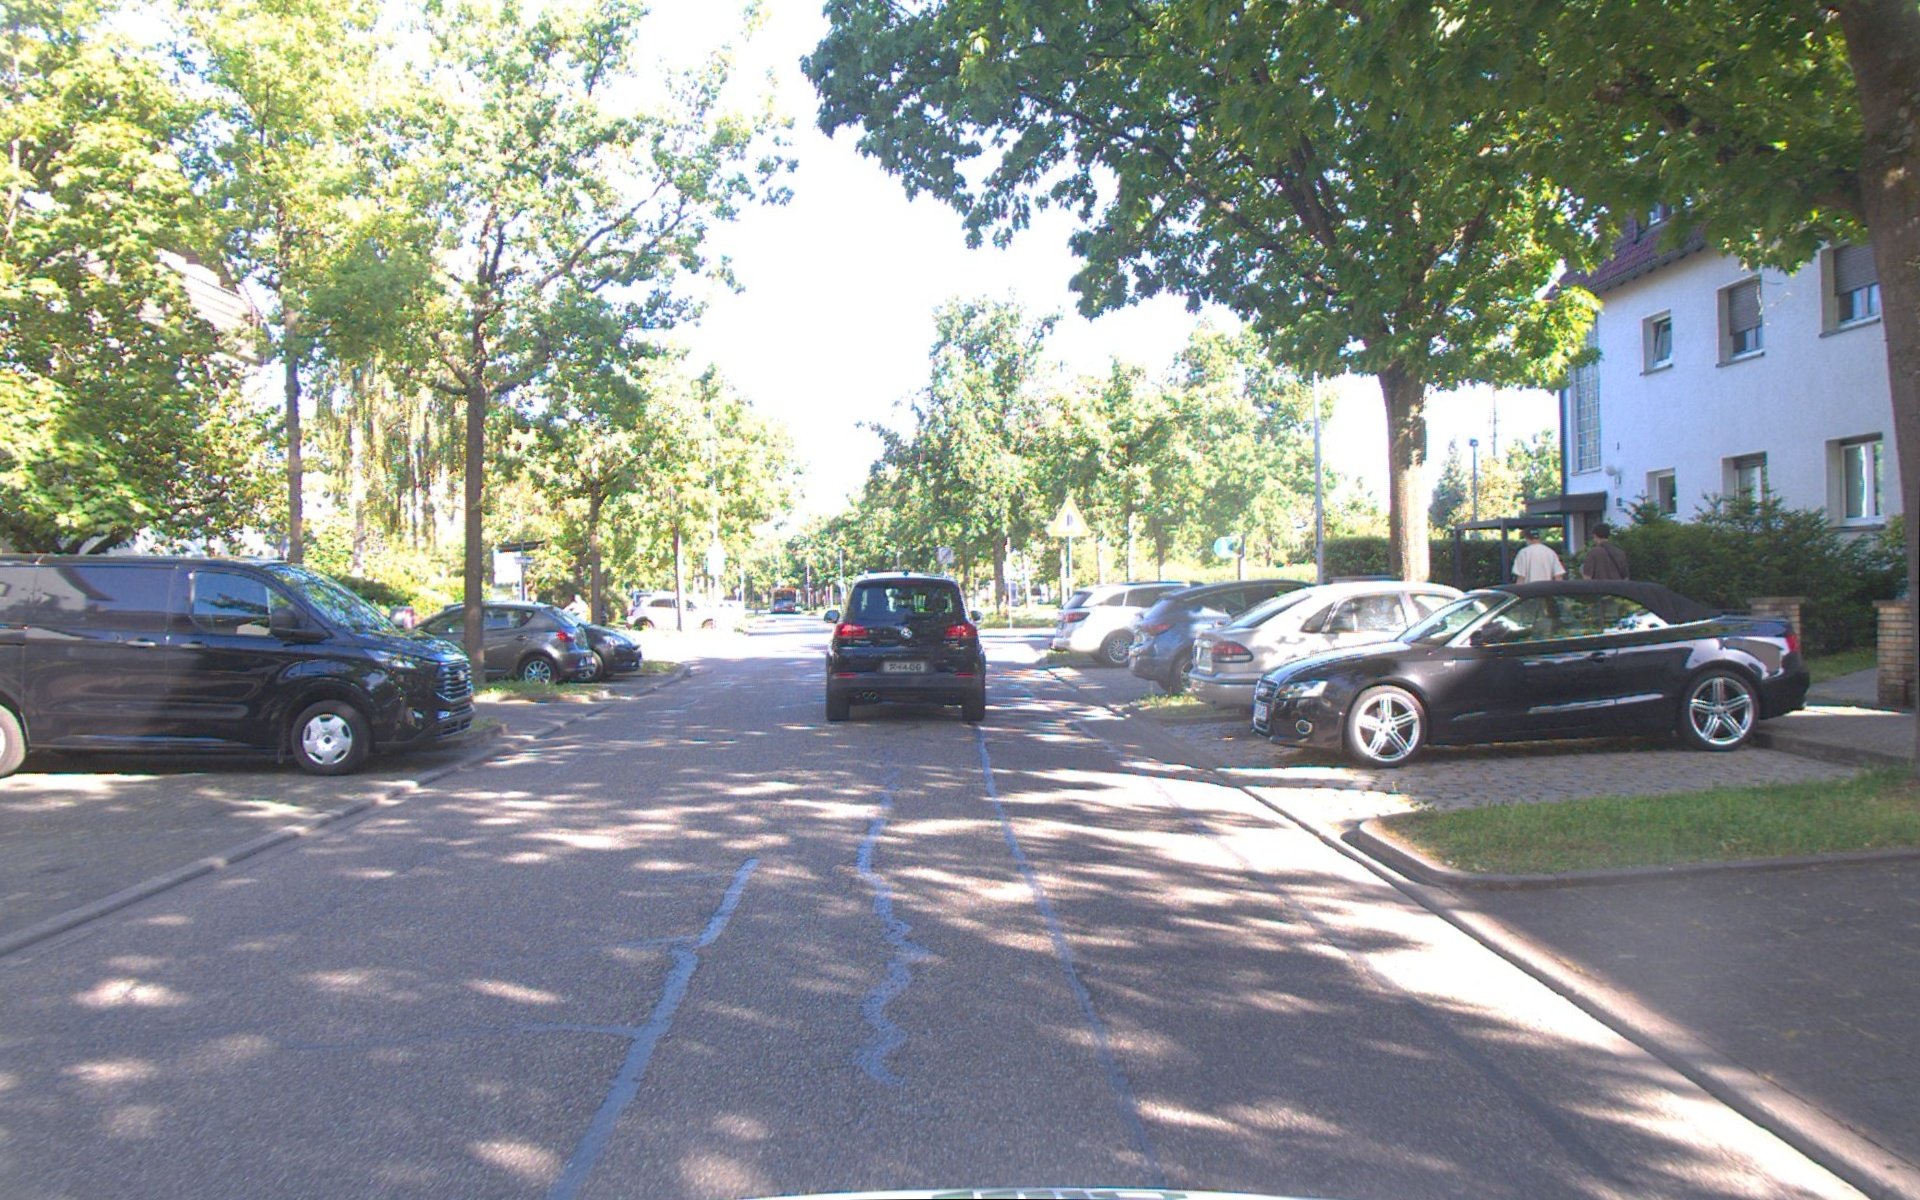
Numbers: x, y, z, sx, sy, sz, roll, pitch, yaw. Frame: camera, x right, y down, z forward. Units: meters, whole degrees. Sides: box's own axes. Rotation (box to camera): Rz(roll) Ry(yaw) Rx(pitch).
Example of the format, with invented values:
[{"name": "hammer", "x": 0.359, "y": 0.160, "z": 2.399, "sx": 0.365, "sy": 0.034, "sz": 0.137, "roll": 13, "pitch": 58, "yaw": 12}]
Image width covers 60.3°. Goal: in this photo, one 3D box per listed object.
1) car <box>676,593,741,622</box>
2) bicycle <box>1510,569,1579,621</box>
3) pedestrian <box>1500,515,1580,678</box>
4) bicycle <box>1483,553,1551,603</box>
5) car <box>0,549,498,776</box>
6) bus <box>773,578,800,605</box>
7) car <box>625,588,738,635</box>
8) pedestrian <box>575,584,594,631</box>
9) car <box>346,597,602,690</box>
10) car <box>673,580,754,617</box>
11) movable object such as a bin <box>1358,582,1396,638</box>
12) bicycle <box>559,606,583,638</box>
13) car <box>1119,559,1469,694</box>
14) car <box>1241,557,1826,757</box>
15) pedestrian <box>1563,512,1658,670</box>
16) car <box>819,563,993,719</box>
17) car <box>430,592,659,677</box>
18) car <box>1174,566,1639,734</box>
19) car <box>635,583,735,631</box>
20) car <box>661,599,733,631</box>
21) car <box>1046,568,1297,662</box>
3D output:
[{"name": "car", "x": -15.989, "y": 0.486, "z": 105.183, "sx": 3.938, "sy": 1.676, "sz": 1.809, "roll": -2, "pitch": 1, "yaw": -6}, {"name": "bicycle", "x": 12.910, "y": -0.111, "z": 36.522, "sx": 1.654, "sy": 1.072, "sz": 0.526, "roll": -3, "pitch": 1, "yaw": -34}, {"name": "pedestrian", "x": 7.006, "y": -0.046, "z": 19.999, "sx": 0.595, "sy": 1.906, "sz": 0.924, "roll": -2, "pitch": 0, "yaw": 1}, {"name": "bicycle", "x": 12.505, "y": -0.496, "z": 37.115, "sx": 1.654, "sy": 1.072, "sz": 0.526, "roll": -3, "pitch": 1, "yaw": -34}, {"name": "car", "x": -6.998, "y": 0.540, "z": 15.656, "sx": 4.683, "sy": 1.950, "sz": 2.018, "roll": -1, "pitch": 1, "yaw": -3}, {"name": "bus", "x": -20.316, "y": -0.957, "z": 193.641, "sx": 2.871, "sy": 3.056, "sz": 5.731, "roll": -2, "pitch": 0, "yaw": -5}, {"name": "car", "x": -10.777, "y": 0.444, "z": 64.265, "sx": 4.160, "sy": 1.651, "sz": 1.894, "roll": -2, "pitch": 0, "yaw": -6}, {"name": "pedestrian", "x": -12.805, "y": 0.255, "z": 56.426, "sx": 0.432, "sy": 1.584, "sz": 0.800, "roll": -2, "pitch": 1, "yaw": -2}, {"name": "car", "x": -8.009, "y": 0.690, "z": 27.519, "sx": 3.742, "sy": 1.444, "sz": 1.771, "roll": -1, "pitch": 1, "yaw": -3}, {"name": "car", "x": -12.607, "y": -0.088, "z": 84.787, "sx": 3.938, "sy": 1.676, "sz": 1.809, "roll": -2, "pitch": 1, "yaw": -6}, {"name": "movable object such as a bin", "x": 8.219, "y": 0.188, "z": 32.625, "sx": 0.523, "sy": 1.063, "sz": 0.699, "roll": -2, "pitch": 0, "yaw": -3}, {"name": "bicycle", "x": -13.232, "y": 0.751, "z": 56.287, "sx": 0.438, "sy": 1.057, "sz": 1.892, "roll": -2, "pitch": 0, "yaw": -2}, {"name": "car", "x": 4.295, "y": 0.320, "z": 21.741, "sx": 4.190, "sy": 1.529, "sz": 1.796, "roll": -2, "pitch": 1, "yaw": -1}, {"name": "car", "x": 4.691, "y": 0.443, "z": 13.980, "sx": 4.258, "sy": 1.386, "sz": 1.873, "roll": -2, "pitch": 0, "yaw": -1}, {"name": "pedestrian", "x": 7.856, "y": -0.107, "z": 19.998, "sx": 0.817, "sy": 1.860, "sz": 0.710, "roll": -2, "pitch": 0, "yaw": 1}, {"name": "car", "x": -0.545, "y": 0.423, "z": 19.847, "sx": 1.800, "sy": 1.665, "sz": 3.959, "roll": -1, "pitch": 0, "yaw": 2}, {"name": "car", "x": -7.629, "y": 0.615, "z": 30.600, "sx": 3.779, "sy": 1.484, "sz": 1.713, "roll": -1, "pitch": 1, "yaw": -1}, {"name": "car", "x": 4.413, "y": 0.464, "z": 16.781, "sx": 4.190, "sy": 1.438, "sz": 1.796, "roll": -2, "pitch": 1, "yaw": -1}, {"name": "car", "x": -11.545, "y": 0.284, "z": 69.644, "sx": 3.938, "sy": 1.871, "sz": 1.895, "roll": -2, "pitch": 1, "yaw": -5}, {"name": "car", "x": -15.056, "y": 0.858, "z": 94.905, "sx": 3.938, "sy": 1.676, "sz": 1.809, "roll": -2, "pitch": 0, "yaw": -6}, {"name": "car", "x": 3.830, "y": 0.255, "z": 30.480, "sx": 4.338, "sy": 1.517, "sz": 1.796, "roll": -2, "pitch": 1, "yaw": -1}]
